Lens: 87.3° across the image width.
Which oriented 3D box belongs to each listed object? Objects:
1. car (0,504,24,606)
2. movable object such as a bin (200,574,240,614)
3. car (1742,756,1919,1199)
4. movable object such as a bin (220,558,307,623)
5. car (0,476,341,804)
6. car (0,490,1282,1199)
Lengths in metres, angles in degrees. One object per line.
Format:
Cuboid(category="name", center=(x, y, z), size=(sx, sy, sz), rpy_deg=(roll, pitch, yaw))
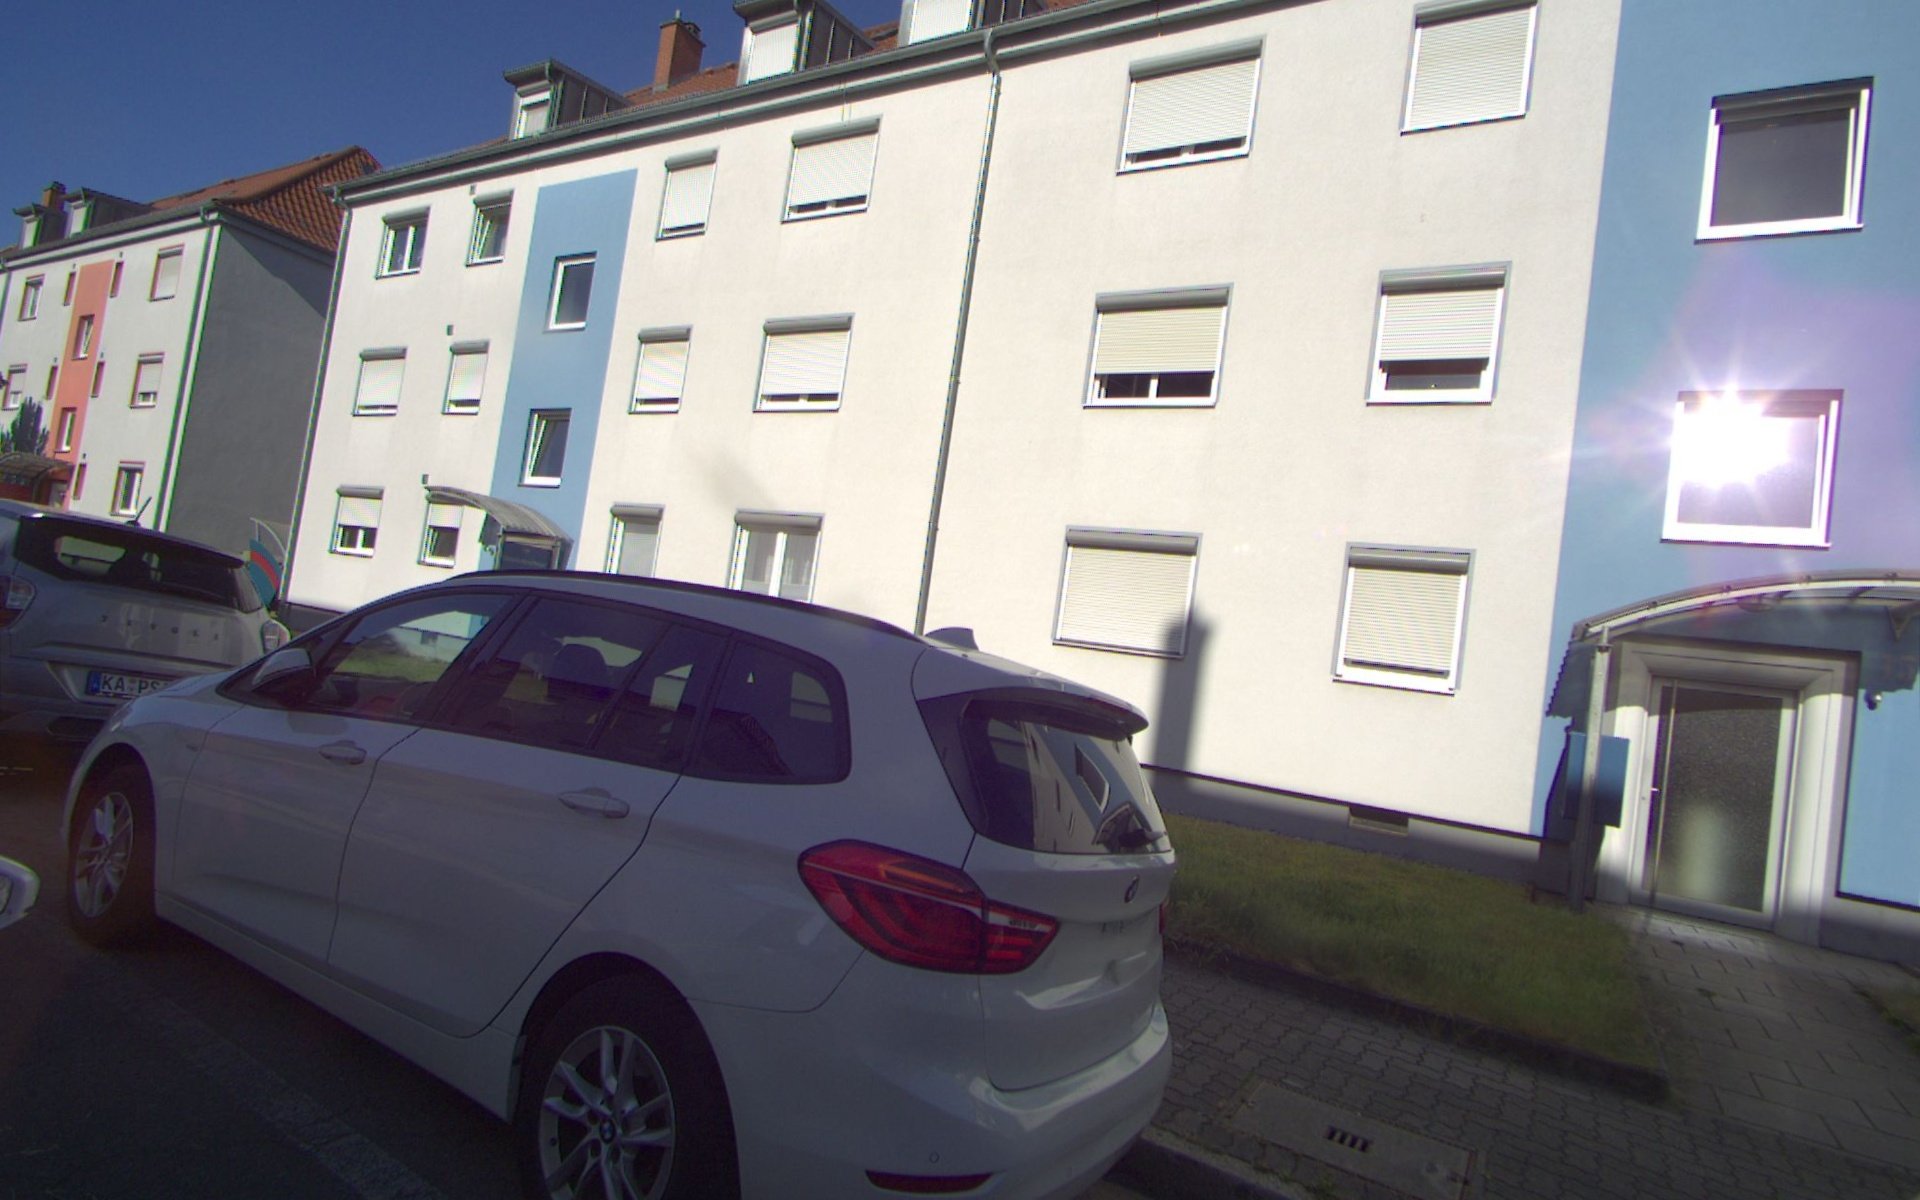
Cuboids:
Cuboid(category="car", center=(-10.808, -0.387, 9.379), size=(4.324, 1.610, 1.720), rpy_deg=(6, -7, 31))
Cuboid(category="movable object such as a bin", center=(-18.997, -0.148, 25.827), size=(0.622, 0.895, 0.524), rpy_deg=(6, -4, 32))
Cuboid(category="car", center=(3.155, 1.200, 0.565), size=(4.088, 1.514, 1.646), rpy_deg=(6, -4, 33))
Cuboid(category="movable object such as a bin", center=(-18.416, -0.237, 26.608), size=(1.168, 1.431, 1.364), rpy_deg=(6, -4, 31))
Cuboid(category="car", center=(-6.436, 0.116, 6.761), size=(4.376, 1.632, 1.759), rpy_deg=(7, -6, 30))
Cuboid(category="car", center=(-1.358, 0.693, 3.567), size=(4.360, 1.590, 1.697), rpy_deg=(6, -5, 31))
